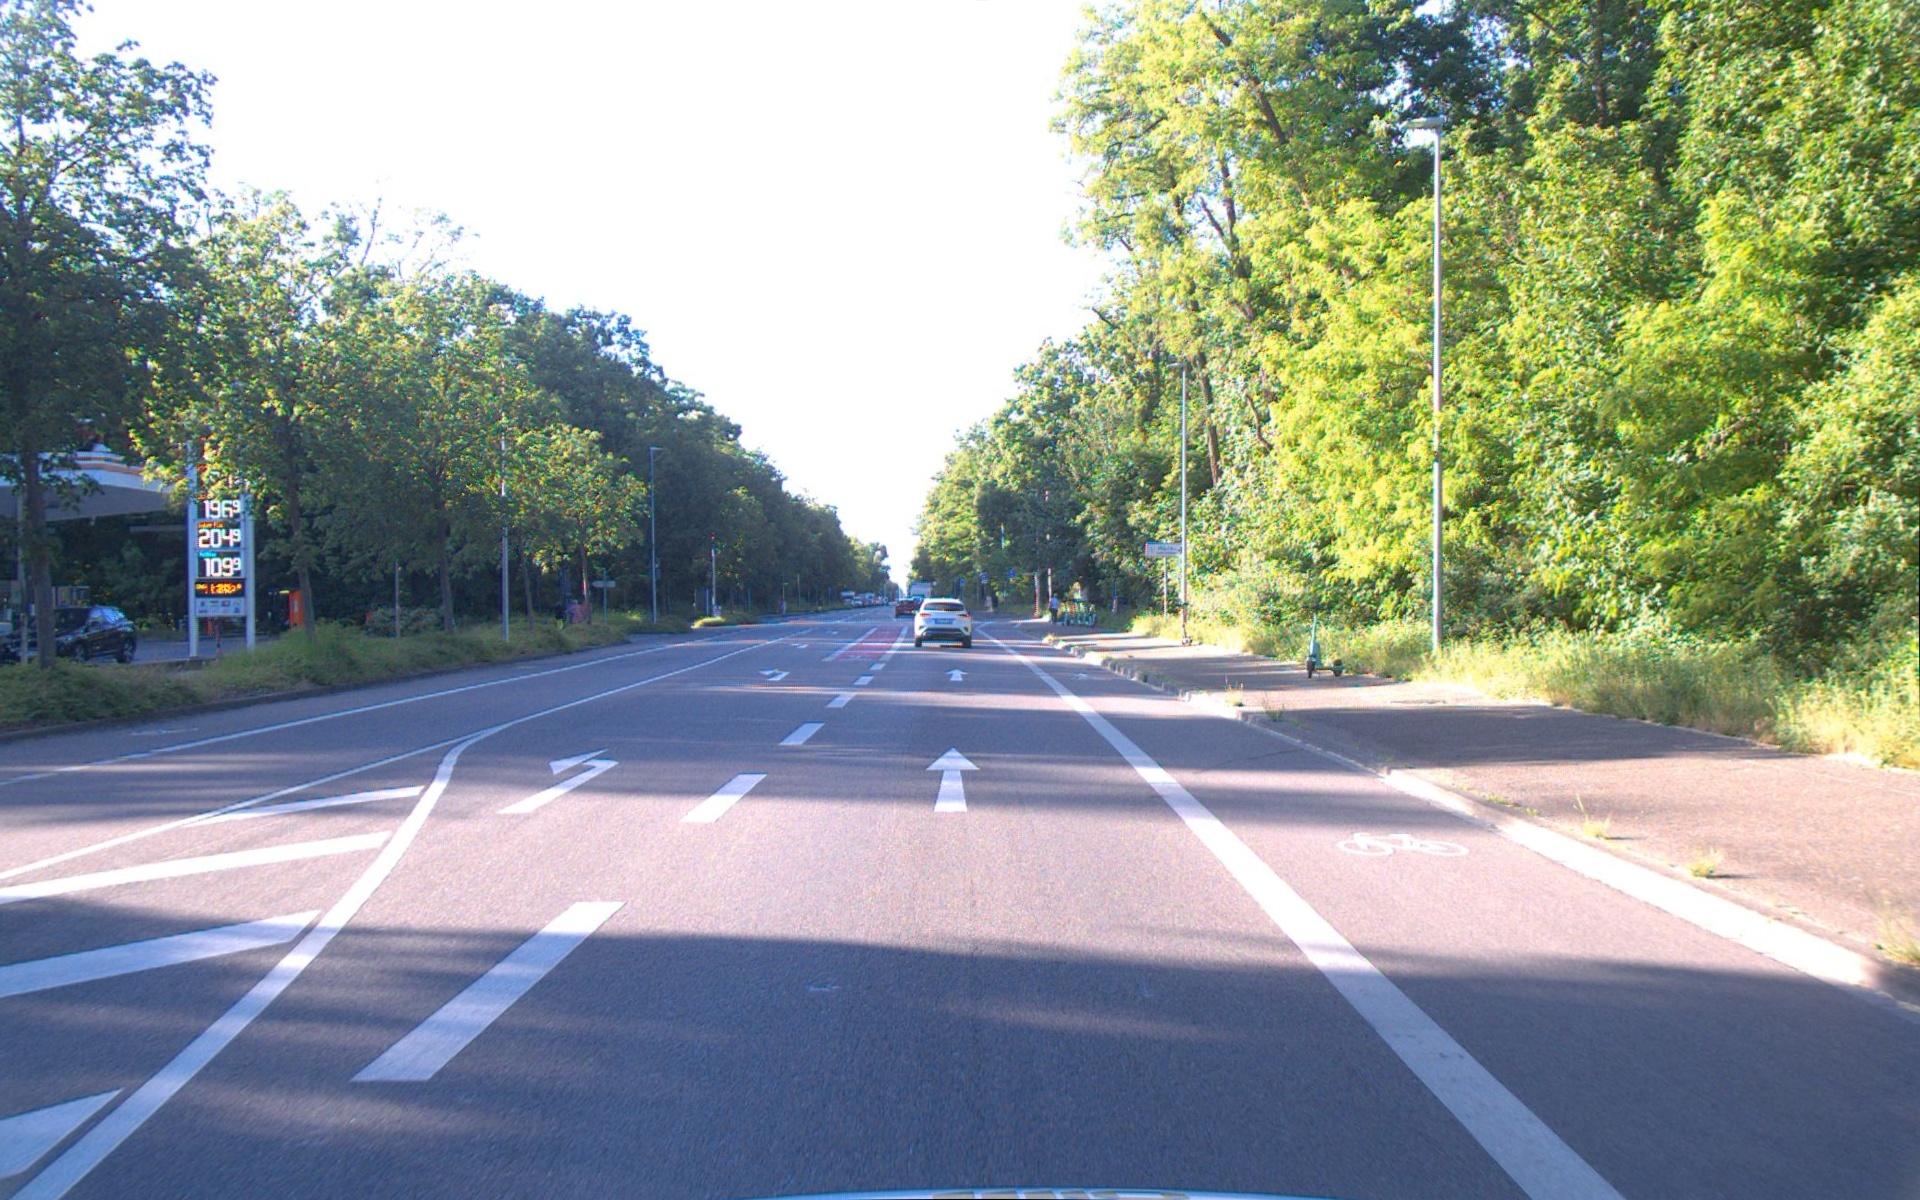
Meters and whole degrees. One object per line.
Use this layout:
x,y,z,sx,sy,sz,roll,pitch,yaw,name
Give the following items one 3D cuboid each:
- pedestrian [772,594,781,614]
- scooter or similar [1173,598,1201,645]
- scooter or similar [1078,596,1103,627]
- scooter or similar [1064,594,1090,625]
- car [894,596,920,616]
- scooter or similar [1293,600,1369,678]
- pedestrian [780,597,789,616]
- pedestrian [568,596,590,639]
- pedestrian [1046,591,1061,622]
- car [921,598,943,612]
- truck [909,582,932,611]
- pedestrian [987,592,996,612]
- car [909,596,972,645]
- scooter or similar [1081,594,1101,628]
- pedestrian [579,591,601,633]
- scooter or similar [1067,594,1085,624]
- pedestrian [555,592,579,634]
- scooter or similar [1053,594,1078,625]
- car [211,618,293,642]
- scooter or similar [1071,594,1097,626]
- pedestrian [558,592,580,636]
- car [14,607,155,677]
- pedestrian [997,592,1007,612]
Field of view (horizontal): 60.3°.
-19.961,0.432,179.972,0.846,2.049,1.269,-1,0,-1,pedestrian
6.324,0.579,46.192,0.522,1.272,1.541,-1,0,-1,scooter or similar
5.836,0.509,73.804,0.459,1.329,1.470,-1,0,-23,scooter or similar
5.515,0.443,77.966,0.671,1.448,1.674,-1,0,-17,scooter or similar
-4.156,0.475,130.154,1.953,1.545,3.999,-1,0,-1,car
6.367,0.655,28.338,0.526,1.272,1.530,-1,0,45,scooter or similar
-19.070,0.725,179.988,0.814,2.049,1.269,-1,0,-1,pedestrian
-18.443,0.858,79.986,0.702,2.049,0.797,-1,0,18,pedestrian
4.936,0.336,87.142,0.739,1.591,0.802,-1,0,3,pedestrian
-2.883,0.472,169.858,1.955,1.350,3.996,-1,0,-5,car
-5.133,-0.446,213.564,2.743,3.632,8.030,0,0,-3,truck
2.670,0.200,142.259,0.684,1.682,0.876,-1,0,-2,pedestrian
-0.660,0.632,52.521,1.727,1.485,3.814,1,0,-5,car
5.704,0.456,71.947,0.668,1.448,1.681,-1,0,-2,scooter or similar
-18.261,0.602,81.637,0.703,2.049,0.746,-1,0,29,pedestrian
5.681,0.426,80.961,0.668,1.448,1.681,-1,0,-1,scooter or similar
-19.261,0.626,81.002,0.703,2.049,0.873,-1,0,29,pedestrian
5.079,0.450,79.635,0.671,1.448,1.674,-1,0,-17,scooter or similar
-44.371,1.881,103.765,1.956,1.337,4.405,-1,0,30,car
5.679,0.442,75.898,0.671,1.448,1.675,-1,0,-15,scooter or similar
-18.711,0.667,79.184,0.702,2.049,0.797,-1,0,18,pedestrian
-23.247,1.073,44.107,1.677,1.721,4.449,-2,0,-5,car
3.599,0.173,142.292,0.728,1.627,0.797,-1,0,-2,pedestrian
